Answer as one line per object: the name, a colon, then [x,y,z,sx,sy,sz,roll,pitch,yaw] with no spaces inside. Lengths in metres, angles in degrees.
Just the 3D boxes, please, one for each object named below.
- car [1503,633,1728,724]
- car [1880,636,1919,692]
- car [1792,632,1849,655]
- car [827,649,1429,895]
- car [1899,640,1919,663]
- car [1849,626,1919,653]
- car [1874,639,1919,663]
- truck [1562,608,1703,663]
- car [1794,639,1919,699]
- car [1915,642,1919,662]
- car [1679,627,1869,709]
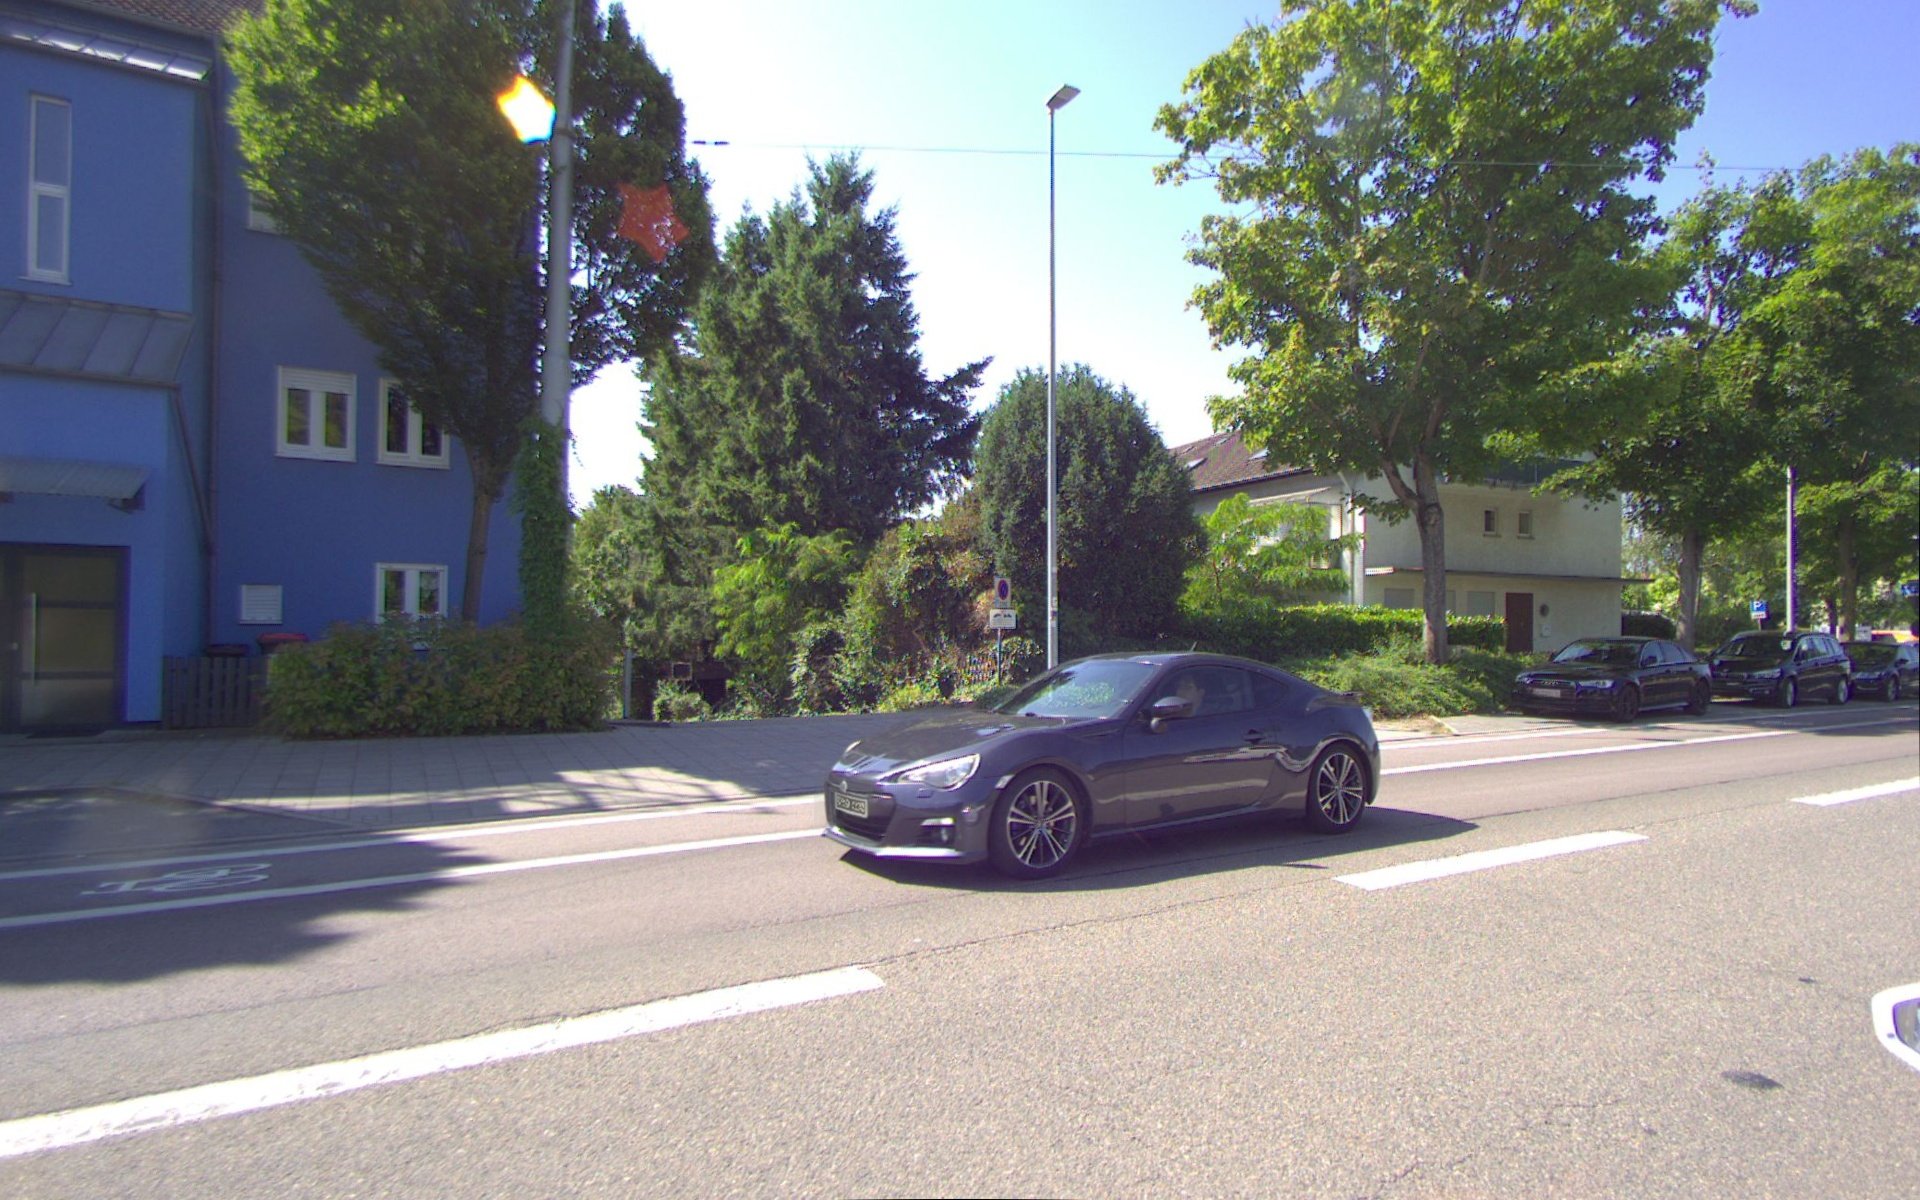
car: [12.450,1.397,18.963,4.859,1.485,1.829,2,-1,-34]
car: [27.401,1.785,27.848,3.956,1.470,1.634,2,0,-29]
car: [73.456,3.689,85.750,1.535,1.901,3.405,1,-2,-31]
car: [1.251,1.000,7.012,4.017,1.260,1.680,1,-4,-31]
car: [57.536,3.022,58.366,1.748,1.281,3.973,1,-2,-27]
car: [79.179,3.387,85.960,1.981,2.040,4.228,2,0,-35]
car: [55.174,2.932,57.407,1.748,1.368,3.973,1,-2,-27]
truck: [42.642,2.184,63.968,2.206,3.059,7.102,1,1,-31]
car: [23.270,1.702,25.577,4.727,1.398,1.682,1,-1,-31]
car: [59.648,3.120,59.595,1.748,1.241,3.973,1,-2,-27]
car: [18.289,1.463,22.521,4.837,1.627,1.753,1,-1,-31]
